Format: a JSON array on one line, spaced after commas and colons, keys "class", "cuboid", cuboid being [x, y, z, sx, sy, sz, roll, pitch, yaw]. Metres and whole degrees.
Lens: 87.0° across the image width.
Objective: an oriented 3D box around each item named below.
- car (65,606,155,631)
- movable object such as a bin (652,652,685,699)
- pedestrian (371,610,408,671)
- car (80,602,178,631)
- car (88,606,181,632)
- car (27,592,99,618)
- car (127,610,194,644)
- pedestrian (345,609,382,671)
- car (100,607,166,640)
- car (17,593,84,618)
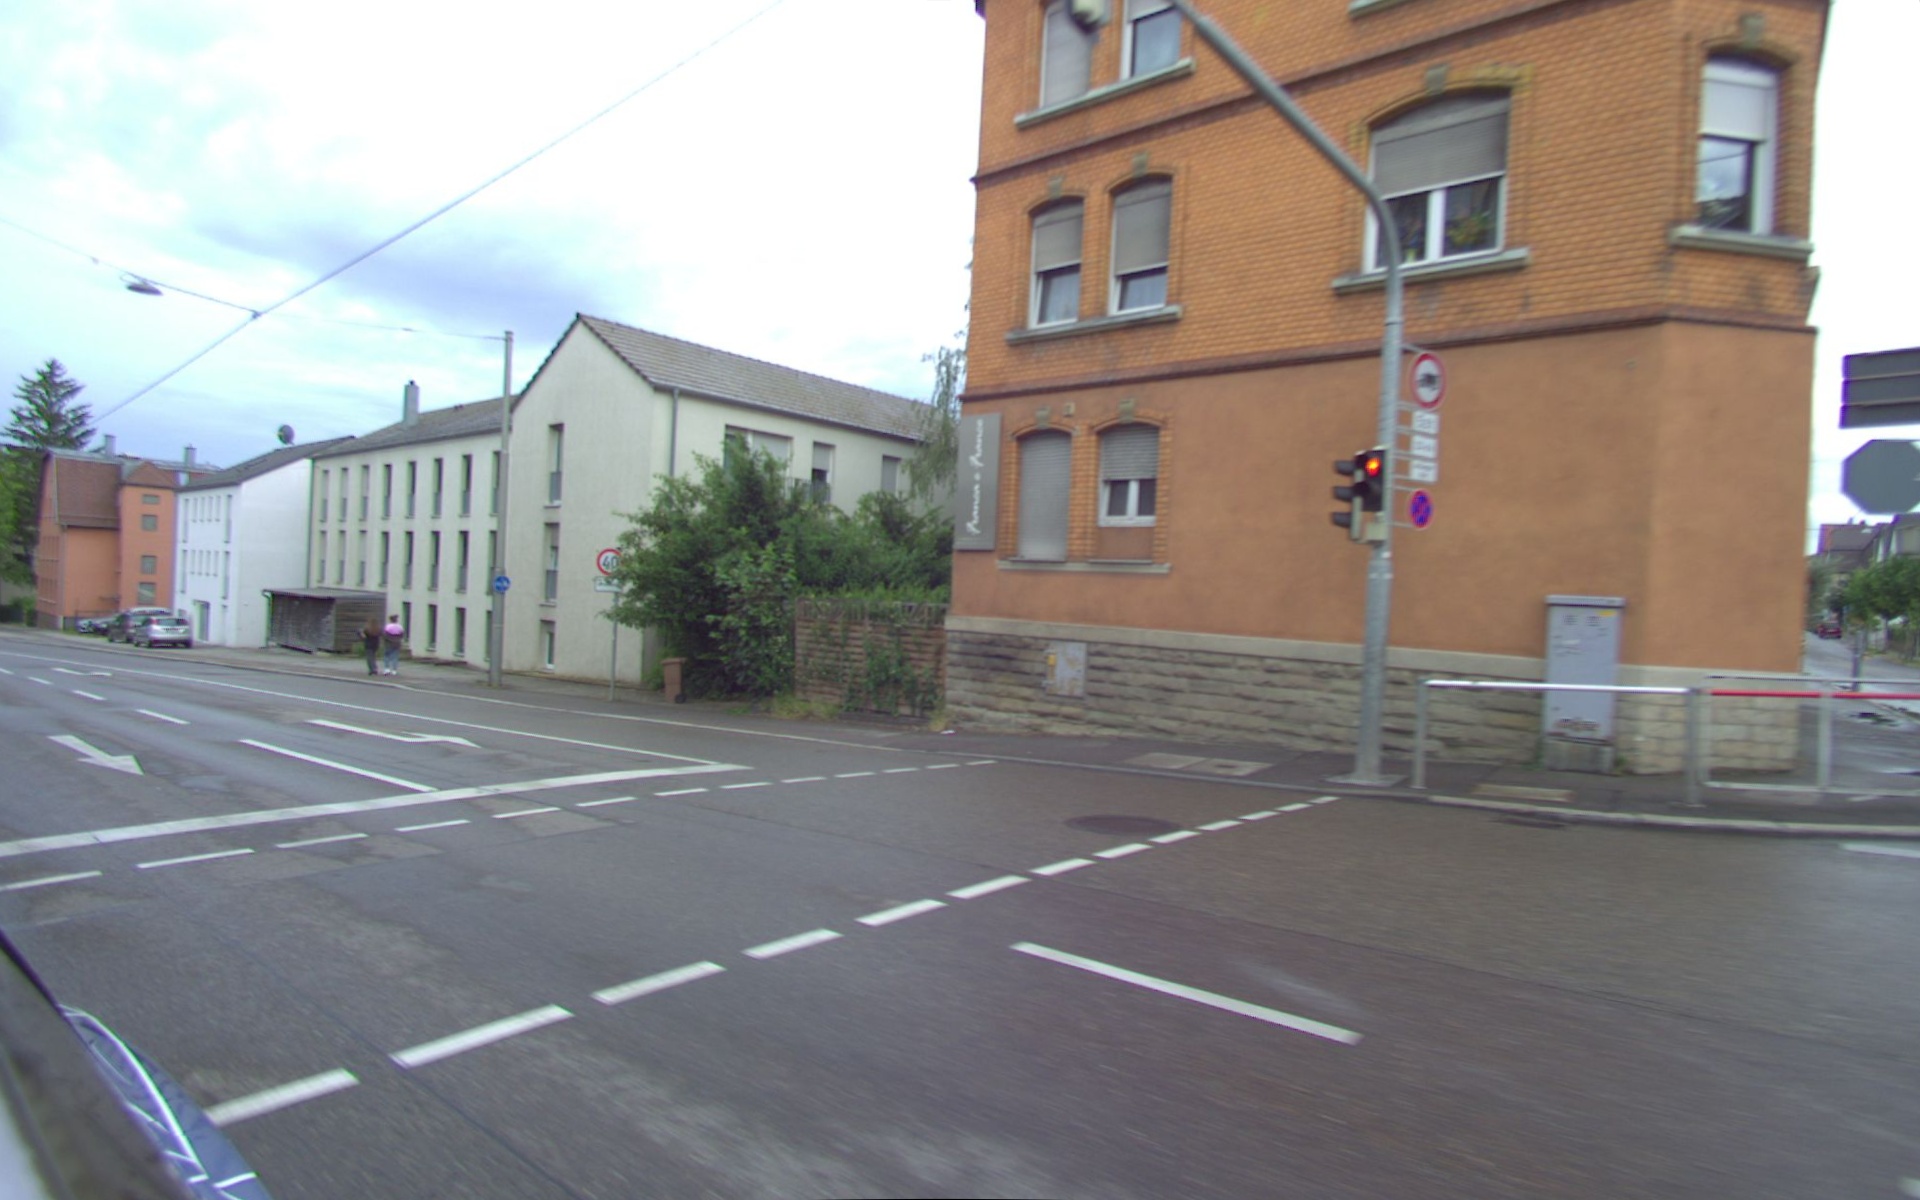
[{"class": "car", "cuboid": [-53.572, 1.162, 63.832, 2.000, 1.444, 4.117, 0, 0, 43]}, {"class": "movable object such as a bin", "cuboid": [-6.055, 1.558, 21.016, 0.525, 0.932, 0.406, 0, 0, 34]}, {"class": "pedestrian", "cuboid": [-16.396, 1.139, 29.093, 0.911, 1.719, 0.633, 0, -1, 42]}, {"class": "car", "cuboid": [-51.343, 0.986, 62.586, 2.153, 1.620, 4.482, 0, 0, 43]}, {"class": "car", "cuboid": [-49.479, 1.099, 60.695, 1.895, 1.475, 4.082, 0, 0, 42]}, {"class": "car", "cuboid": [-70.448, 0.382, 79.513, 1.998, 2.029, 3.947, 0, 0, 39]}, {"class": "car", "cuboid": [-37.787, 1.253, 47.792, 4.175, 1.519, 1.727, 0, -2, 41]}, {"class": "pedestrian", "cuboid": [-16.867, 1.125, 28.612, 0.911, 1.719, 0.633, 0, -1, 42]}, {"class": "car", "cuboid": [-43.009, 1.186, 52.582, 4.076, 1.564, 1.729, 0, 0, 37]}, {"class": "car", "cuboid": [-73.495, 0.439, 81.817, 3.938, 2.029, 2.003, 1, 0, -42]}]
